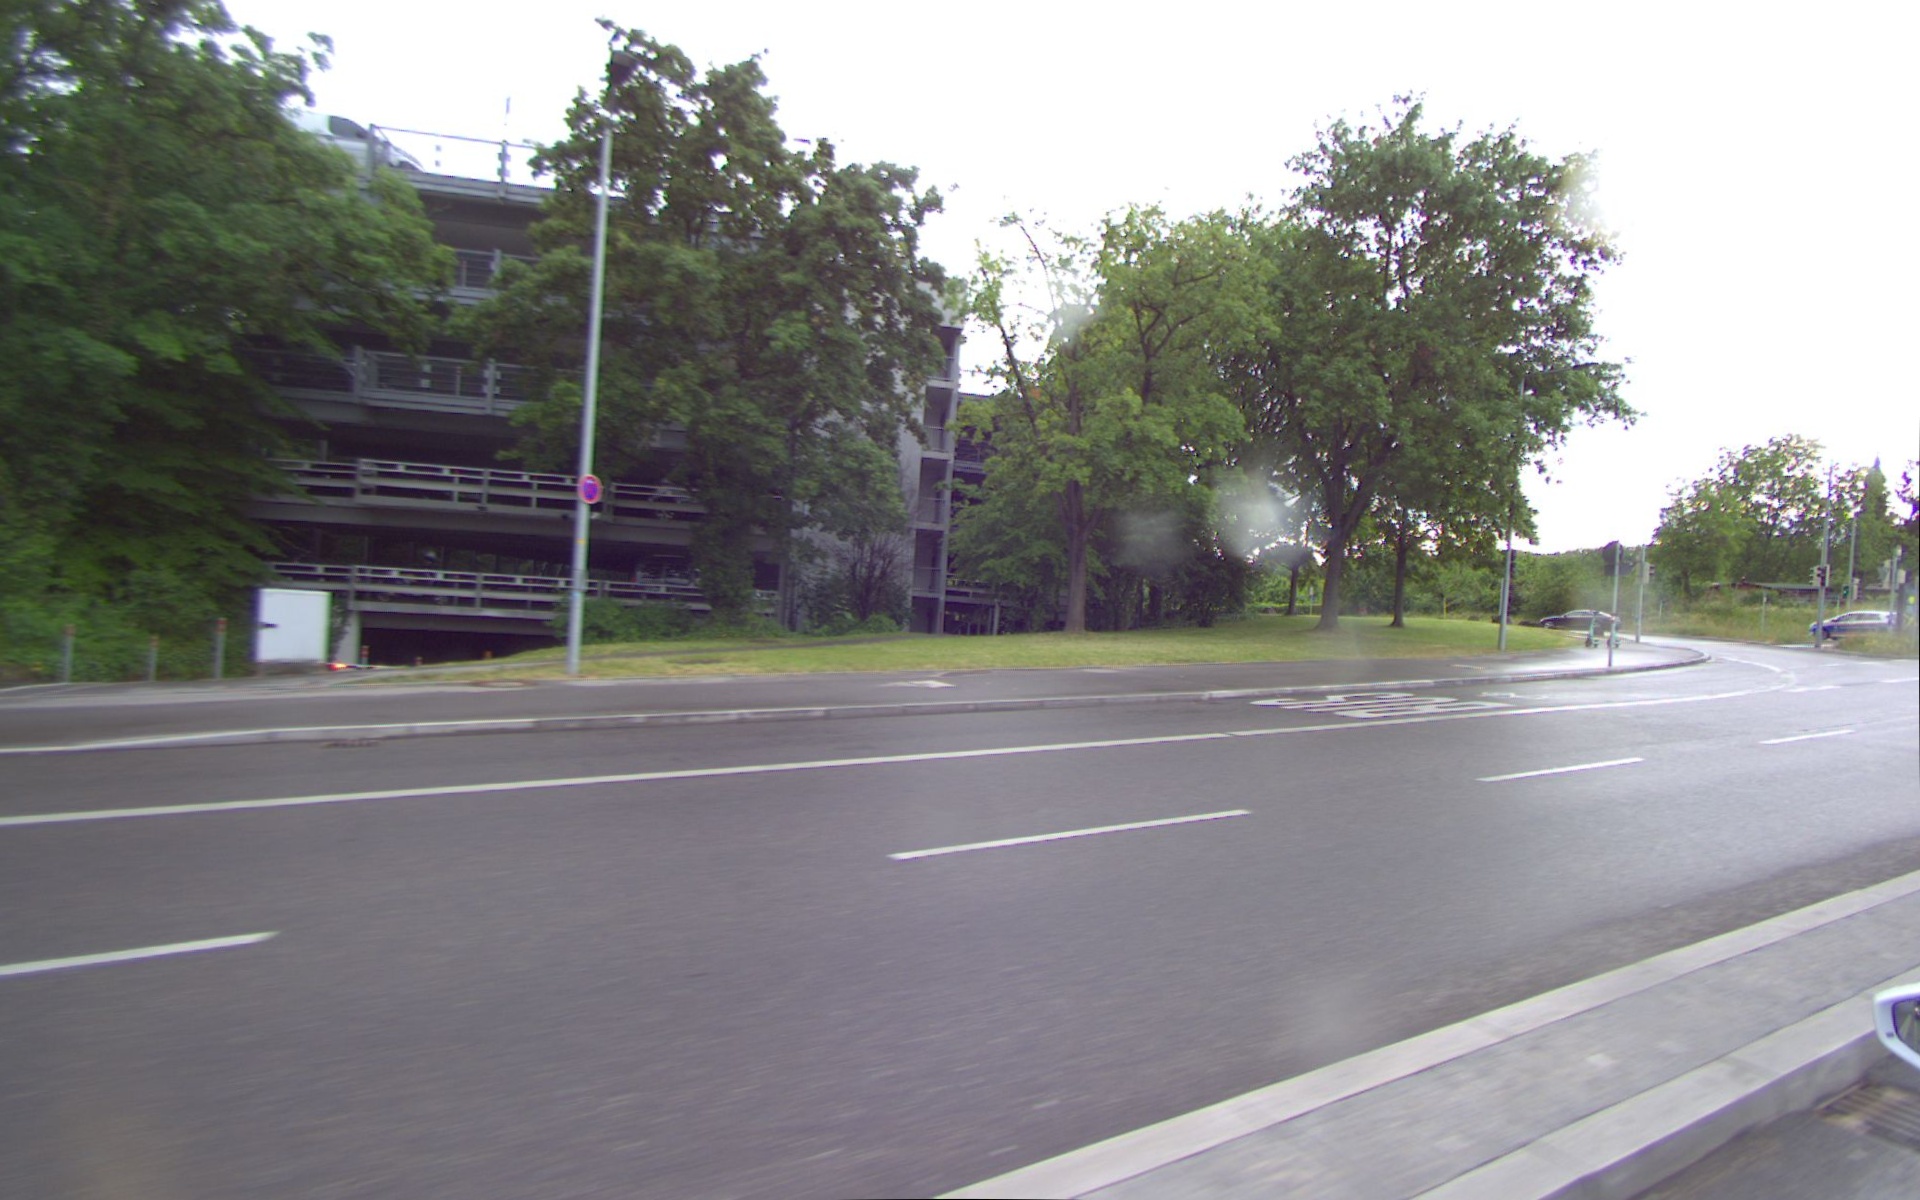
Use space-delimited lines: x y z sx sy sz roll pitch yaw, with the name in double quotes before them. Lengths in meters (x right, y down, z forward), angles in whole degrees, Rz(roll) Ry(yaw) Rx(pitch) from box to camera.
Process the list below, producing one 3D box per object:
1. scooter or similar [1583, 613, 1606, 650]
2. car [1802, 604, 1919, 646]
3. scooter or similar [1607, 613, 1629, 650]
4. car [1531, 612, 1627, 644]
"scooter or similar" 21.605 1.072 34.188 1.298 1.234 0.308 0 2 -44
"car" 46.191 1.242 51.409 2.055 1.741 4.171 3 2 -25
"scooter or similar" 23.007 1.086 35.112 1.298 1.234 0.308 0 2 -43
"car" 39.097 1.736 63.579 2.151 1.604 4.619 3 2 -34
